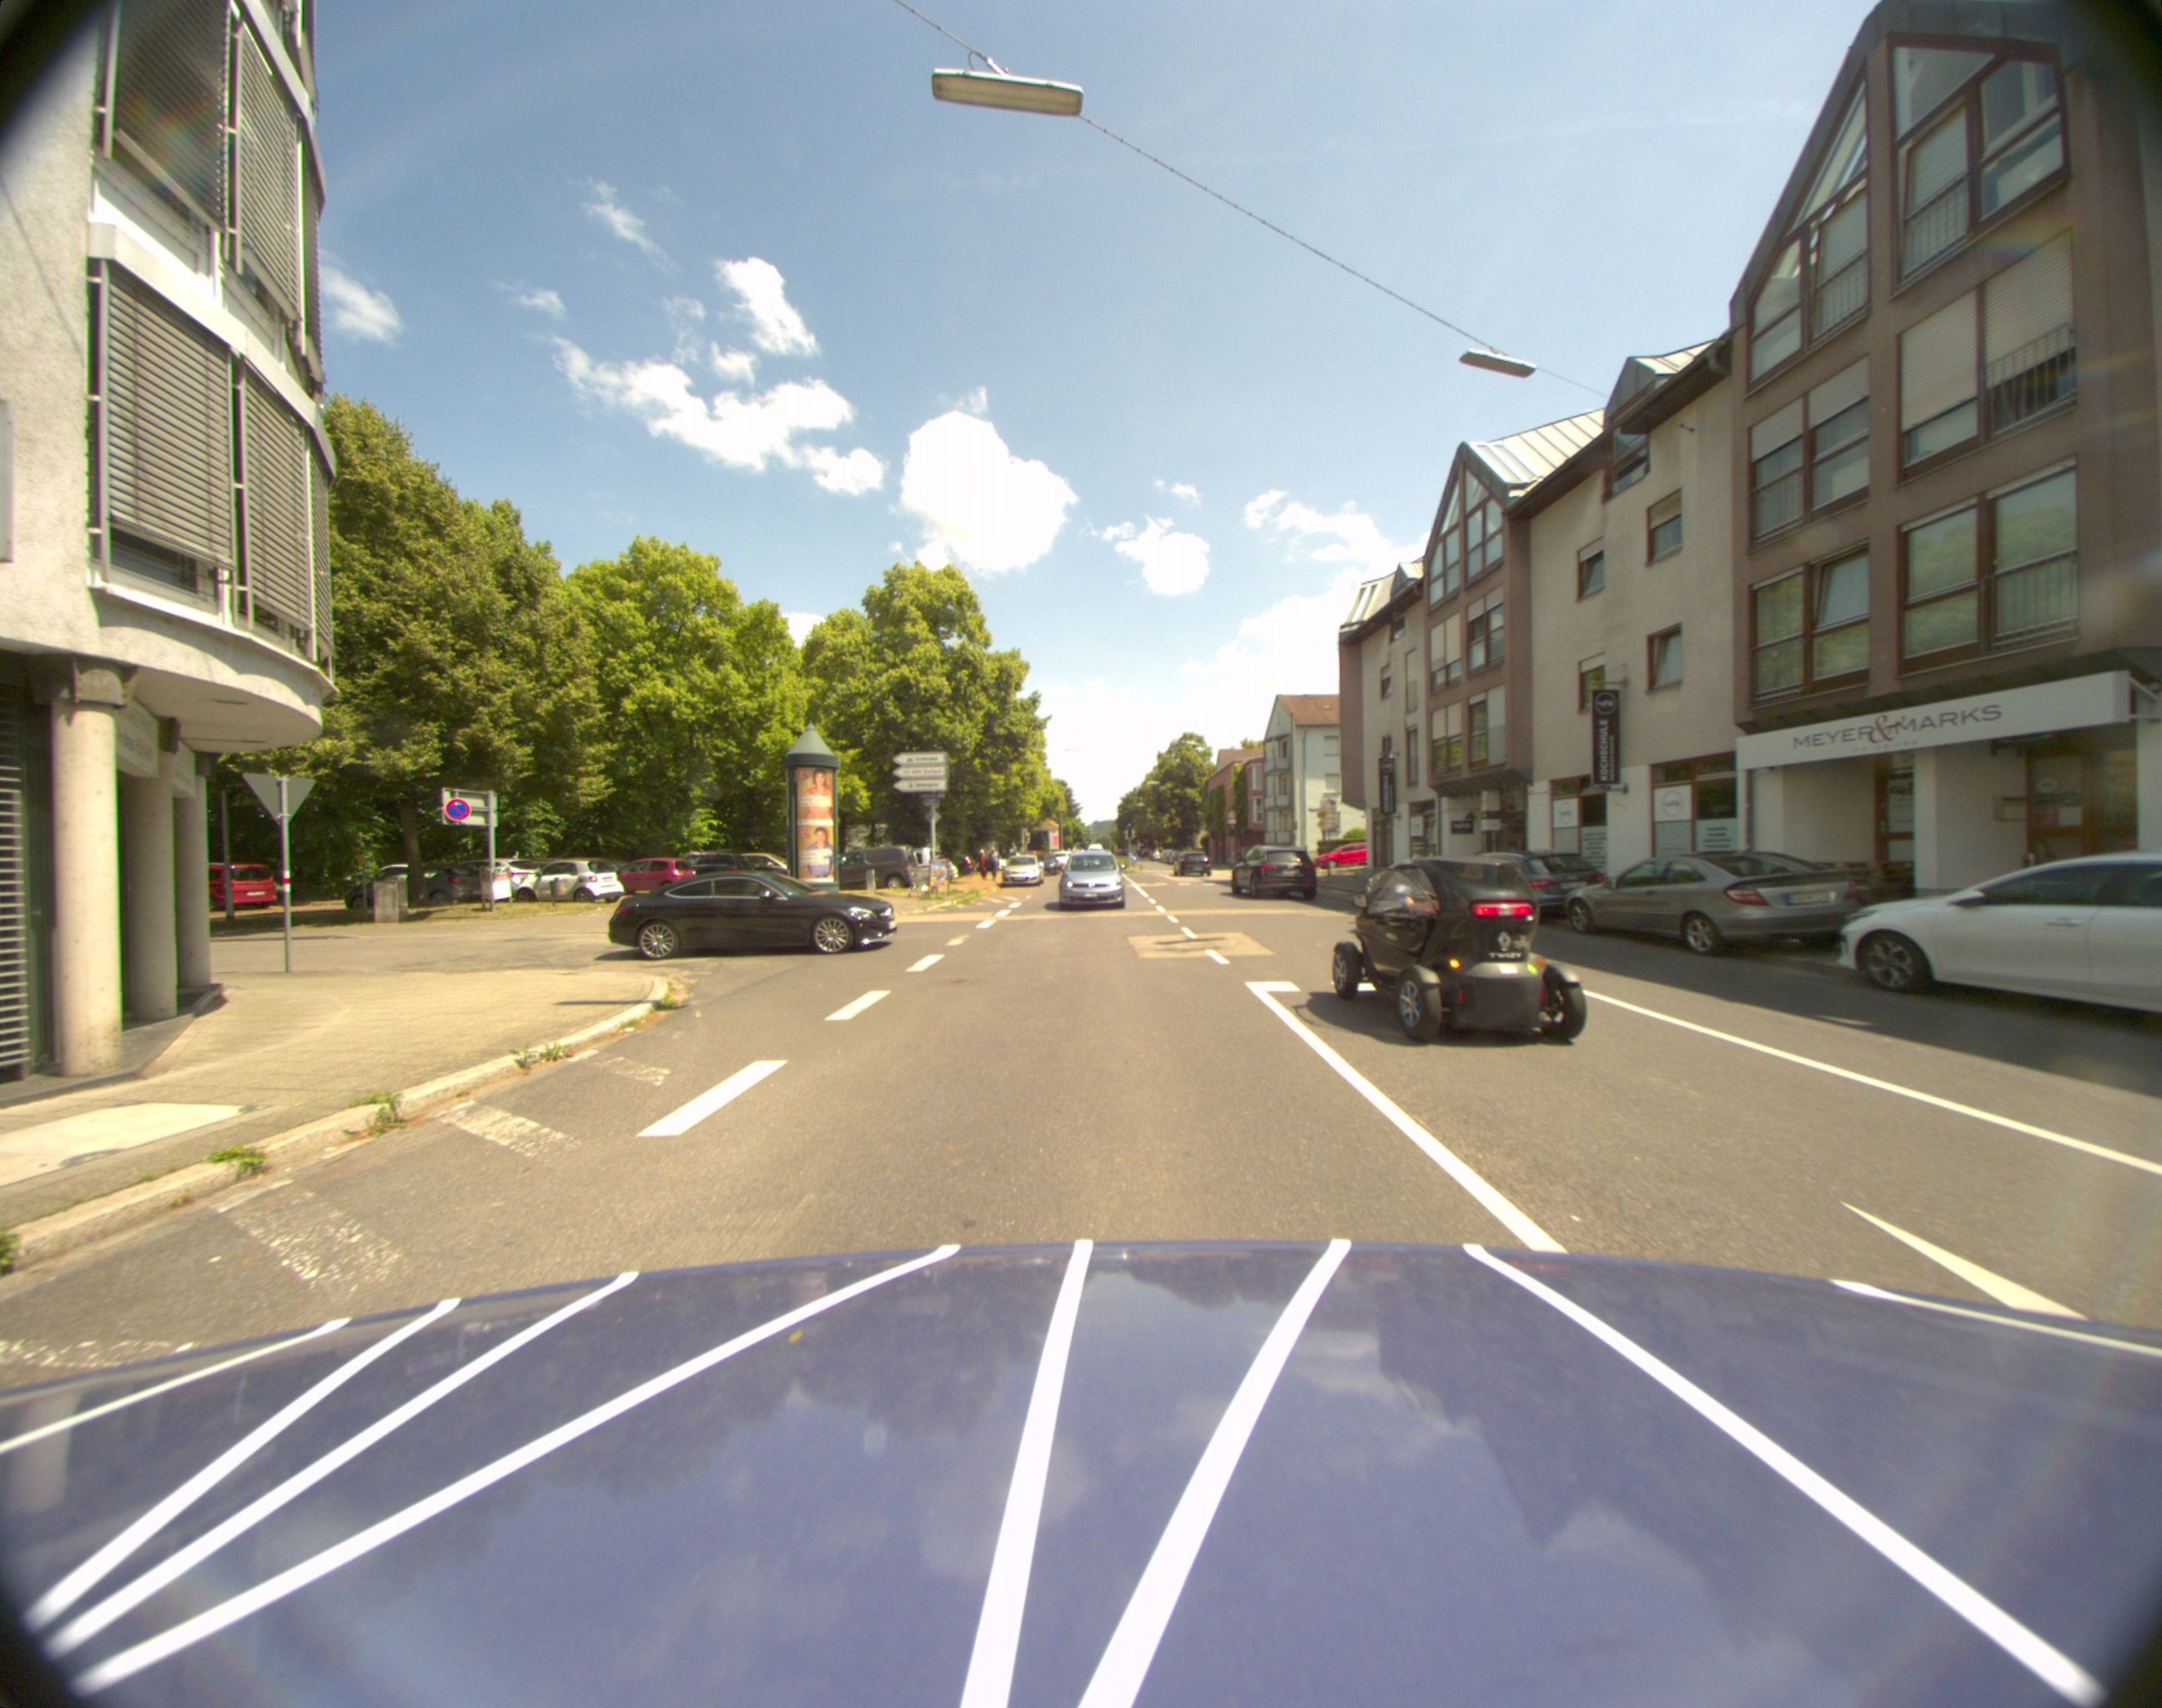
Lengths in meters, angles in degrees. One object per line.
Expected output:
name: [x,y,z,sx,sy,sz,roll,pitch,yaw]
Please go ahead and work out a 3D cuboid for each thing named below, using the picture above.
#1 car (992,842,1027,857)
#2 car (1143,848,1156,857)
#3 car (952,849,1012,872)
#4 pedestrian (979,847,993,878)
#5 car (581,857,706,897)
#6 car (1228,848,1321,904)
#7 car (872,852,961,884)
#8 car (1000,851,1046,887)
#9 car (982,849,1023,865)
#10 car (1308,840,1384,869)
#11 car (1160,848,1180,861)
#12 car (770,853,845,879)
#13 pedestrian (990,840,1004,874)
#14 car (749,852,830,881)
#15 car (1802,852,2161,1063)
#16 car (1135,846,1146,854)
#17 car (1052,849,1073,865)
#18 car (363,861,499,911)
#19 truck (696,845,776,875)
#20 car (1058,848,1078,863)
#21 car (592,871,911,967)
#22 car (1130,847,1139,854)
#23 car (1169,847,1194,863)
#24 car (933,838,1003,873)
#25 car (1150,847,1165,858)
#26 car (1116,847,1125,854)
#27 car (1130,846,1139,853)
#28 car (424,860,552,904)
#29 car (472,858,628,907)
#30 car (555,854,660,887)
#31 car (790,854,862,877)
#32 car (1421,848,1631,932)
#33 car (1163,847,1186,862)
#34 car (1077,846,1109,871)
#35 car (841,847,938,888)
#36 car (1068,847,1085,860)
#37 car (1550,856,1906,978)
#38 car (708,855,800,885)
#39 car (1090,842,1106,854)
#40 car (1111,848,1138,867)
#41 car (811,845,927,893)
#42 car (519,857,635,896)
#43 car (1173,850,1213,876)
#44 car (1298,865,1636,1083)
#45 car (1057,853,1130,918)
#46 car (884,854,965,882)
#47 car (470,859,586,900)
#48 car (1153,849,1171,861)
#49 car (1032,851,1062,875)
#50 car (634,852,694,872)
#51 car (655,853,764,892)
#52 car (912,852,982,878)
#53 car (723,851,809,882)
car: [-7.908,-0.500,84.058,3.762,1.518,1.853,-1,1,-2]
car: [11.153,-0.266,124.656,1.757,1.325,3.607,-2,1,0]
car: [-7.549,0.471,58.299,4.336,1.485,1.808,-3,1,0]
pedestrian: [-5.043,0.440,40.359,0.618,1.584,0.737,-2,1,1]
car: [-17.516,0.896,30.536,3.997,1.520,1.680,0,1,-1]
car: [6.126,0.645,24.528,1.817,1.611,4.441,0,0,-1]
car: [-8.185,0.684,38.076,3.997,1.390,1.807,-2,1,-1]
car: [-2.654,0.658,35.601,1.771,1.477,3.890,-2,1,1]
car: [-7.458,0.297,72.045,3.848,1.350,1.628,-2,1,-7]
car: [16.296,0.065,46.877,3.997,1.443,1.733,-5,-1,0]
car: [10.258,0.029,88.117,1.752,1.499,3.999,-2,1,0]
car: [-16.966,0.721,47.211,3.996,1.577,1.804,0,1,3]
pedestrian: [-4.444,0.170,40.326,0.618,1.754,0.737,-2,1,1]
car: [-17.010,0.704,44.456,3.996,1.652,1.804,0,1,3]
car: [9.164,0.803,6.475,1.844,1.480,4.386,-3,1,0]
car: [11.464,-0.754,146.374,1.757,1.325,3.607,-2,1,0]
car: [-1.728,0.249,72.007,1.721,1.434,4.111,-2,0,2]
car: [-21.467,1.046,25.169,3.070,1.545,1.591,0,1,-1]
truck: [-21.500,0.389,47.458,4.130,1.804,1.879,-1,1,3]
car: [-1.318,0.106,79.677,1.867,1.516,4.208,-2,1,2]
car: [-5.490,1.060,13.150,4.593,1.357,2.000,-2,1,-1]
car: [11.777,-0.767,168.075,1.757,1.325,3.607,-2,1,0]
car: [9.994,0.054,75.796,1.891,1.531,4.567,-1,1,-1]
car: [-8.086,0.105,54.660,4.613,2.263,2.106,-3,1,2]
car: [10.765,-0.246,106.884,1.572,1.499,3.999,-2,1,0]
car: [8.542,-0.765,163.619,1.752,1.499,3.999,-2,1,0]
car: [11.471,-0.993,162.663,1.757,1.325,3.607,-2,1,0]
car: [-21.647,1.006,27.831,3.389,1.545,1.591,0,1,-1]
car: [-17.660,0.930,25.415,3.997,1.545,1.680,0,1,-1]
car: [-22.111,0.750,35.564,3.807,1.451,1.737,-1,1,0]
car: [-16.589,0.740,49.521,3.996,1.465,1.804,0,1,3]
car: [9.465,0.662,16.753,1.844,1.439,4.969,-3,1,3]
car: [10.075,0.041,82.081,1.891,1.531,4.567,-1,1,-1]
car: [0.900,0.247,53.292,1.998,1.652,4.626,0,1,4]
car: [-8.183,0.560,32.774,3.774,1.657,1.663,-1,1,-3]
car: [-0.505,-0.109,87.849,1.775,1.434,3.338,-2,1,2]
car: [9.483,0.803,11.734,1.844,1.376,4.326,-3,1,2]
car: [-16.854,0.798,39.245,3.997,1.475,1.680,0,1,-1]
car: [2.159,-0.708,92.970,1.720,1.406,4.590,0,1,4]
car: [3.757,0.298,66.144,1.868,1.516,4.290,-2,1,-3]
car: [-8.373,0.569,30.283,3.997,1.741,2.016,-2,1,0]
car: [-21.684,0.945,32.753,3.910,1.459,1.690,-2,1,5]
car: [6.423,0.466,44.071,1.747,1.411,4.222,0,1,1]
car: [3.127,0.862,6.724,1.501,1.451,2.721,-1,1,-3]
car: [0.354,0.769,20.690,1.747,1.513,4.223,-1,1,1]
car: [-8.368,0.758,40.811,3.996,1.420,1.668,0,1,2]
car: [-21.916,0.980,30.205,3.389,1.545,1.591,0,1,-1]
car: [10.100,0.125,95.215,1.752,1.434,3.999,-2,1,0]
car: [-2.199,0.559,50.132,1.667,1.420,4.000,-1,1,2]
car: [-32.875,0.613,60.002,3.805,1.558,1.738,-1,1,5]
car: [-16.653,0.818,34.195,3.998,1.669,1.701,0,1,-2]
car: [-8.496,0.688,48.328,3.996,1.465,1.717,-3,1,3]
car: [-17.301,0.680,41.885,3.997,1.631,1.680,0,1,-1]
